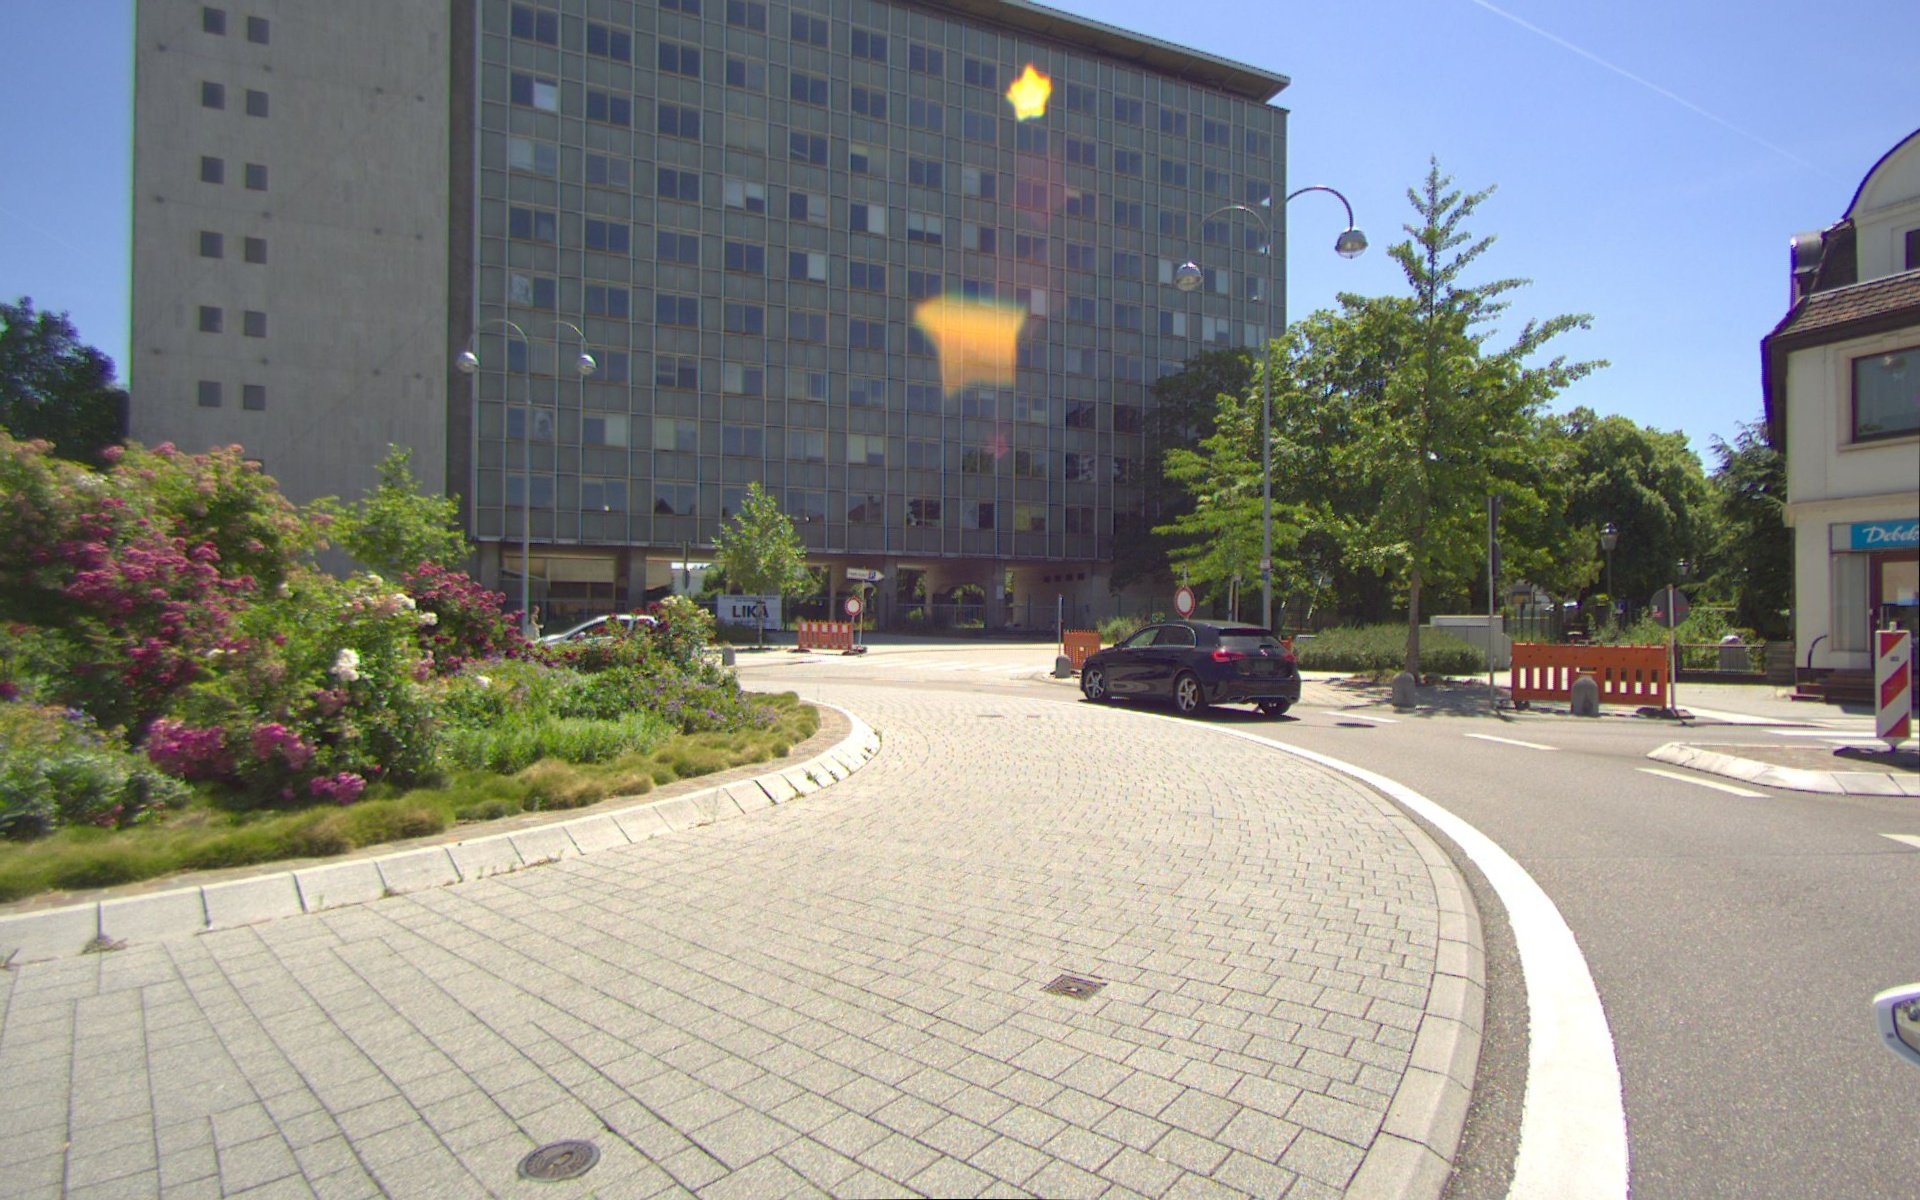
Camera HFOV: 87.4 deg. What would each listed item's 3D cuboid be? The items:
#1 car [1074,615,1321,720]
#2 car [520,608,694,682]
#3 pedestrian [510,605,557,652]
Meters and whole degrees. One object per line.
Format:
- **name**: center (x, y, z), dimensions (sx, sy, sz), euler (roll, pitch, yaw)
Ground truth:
- **car**: center (3.659, 0.984, 16.224), dimensions (1.932, 1.446, 3.978), euler (1, -1, -23)
- **car**: center (-8.554, 1.059, 24.496), dimensions (3.861, 1.619, 1.782), euler (1, 2, -20)
- **pedestrian**: center (-14.837, 0.987, 34.977), dimensions (1.257, 1.606, 0.948), euler (1, -1, -4)
